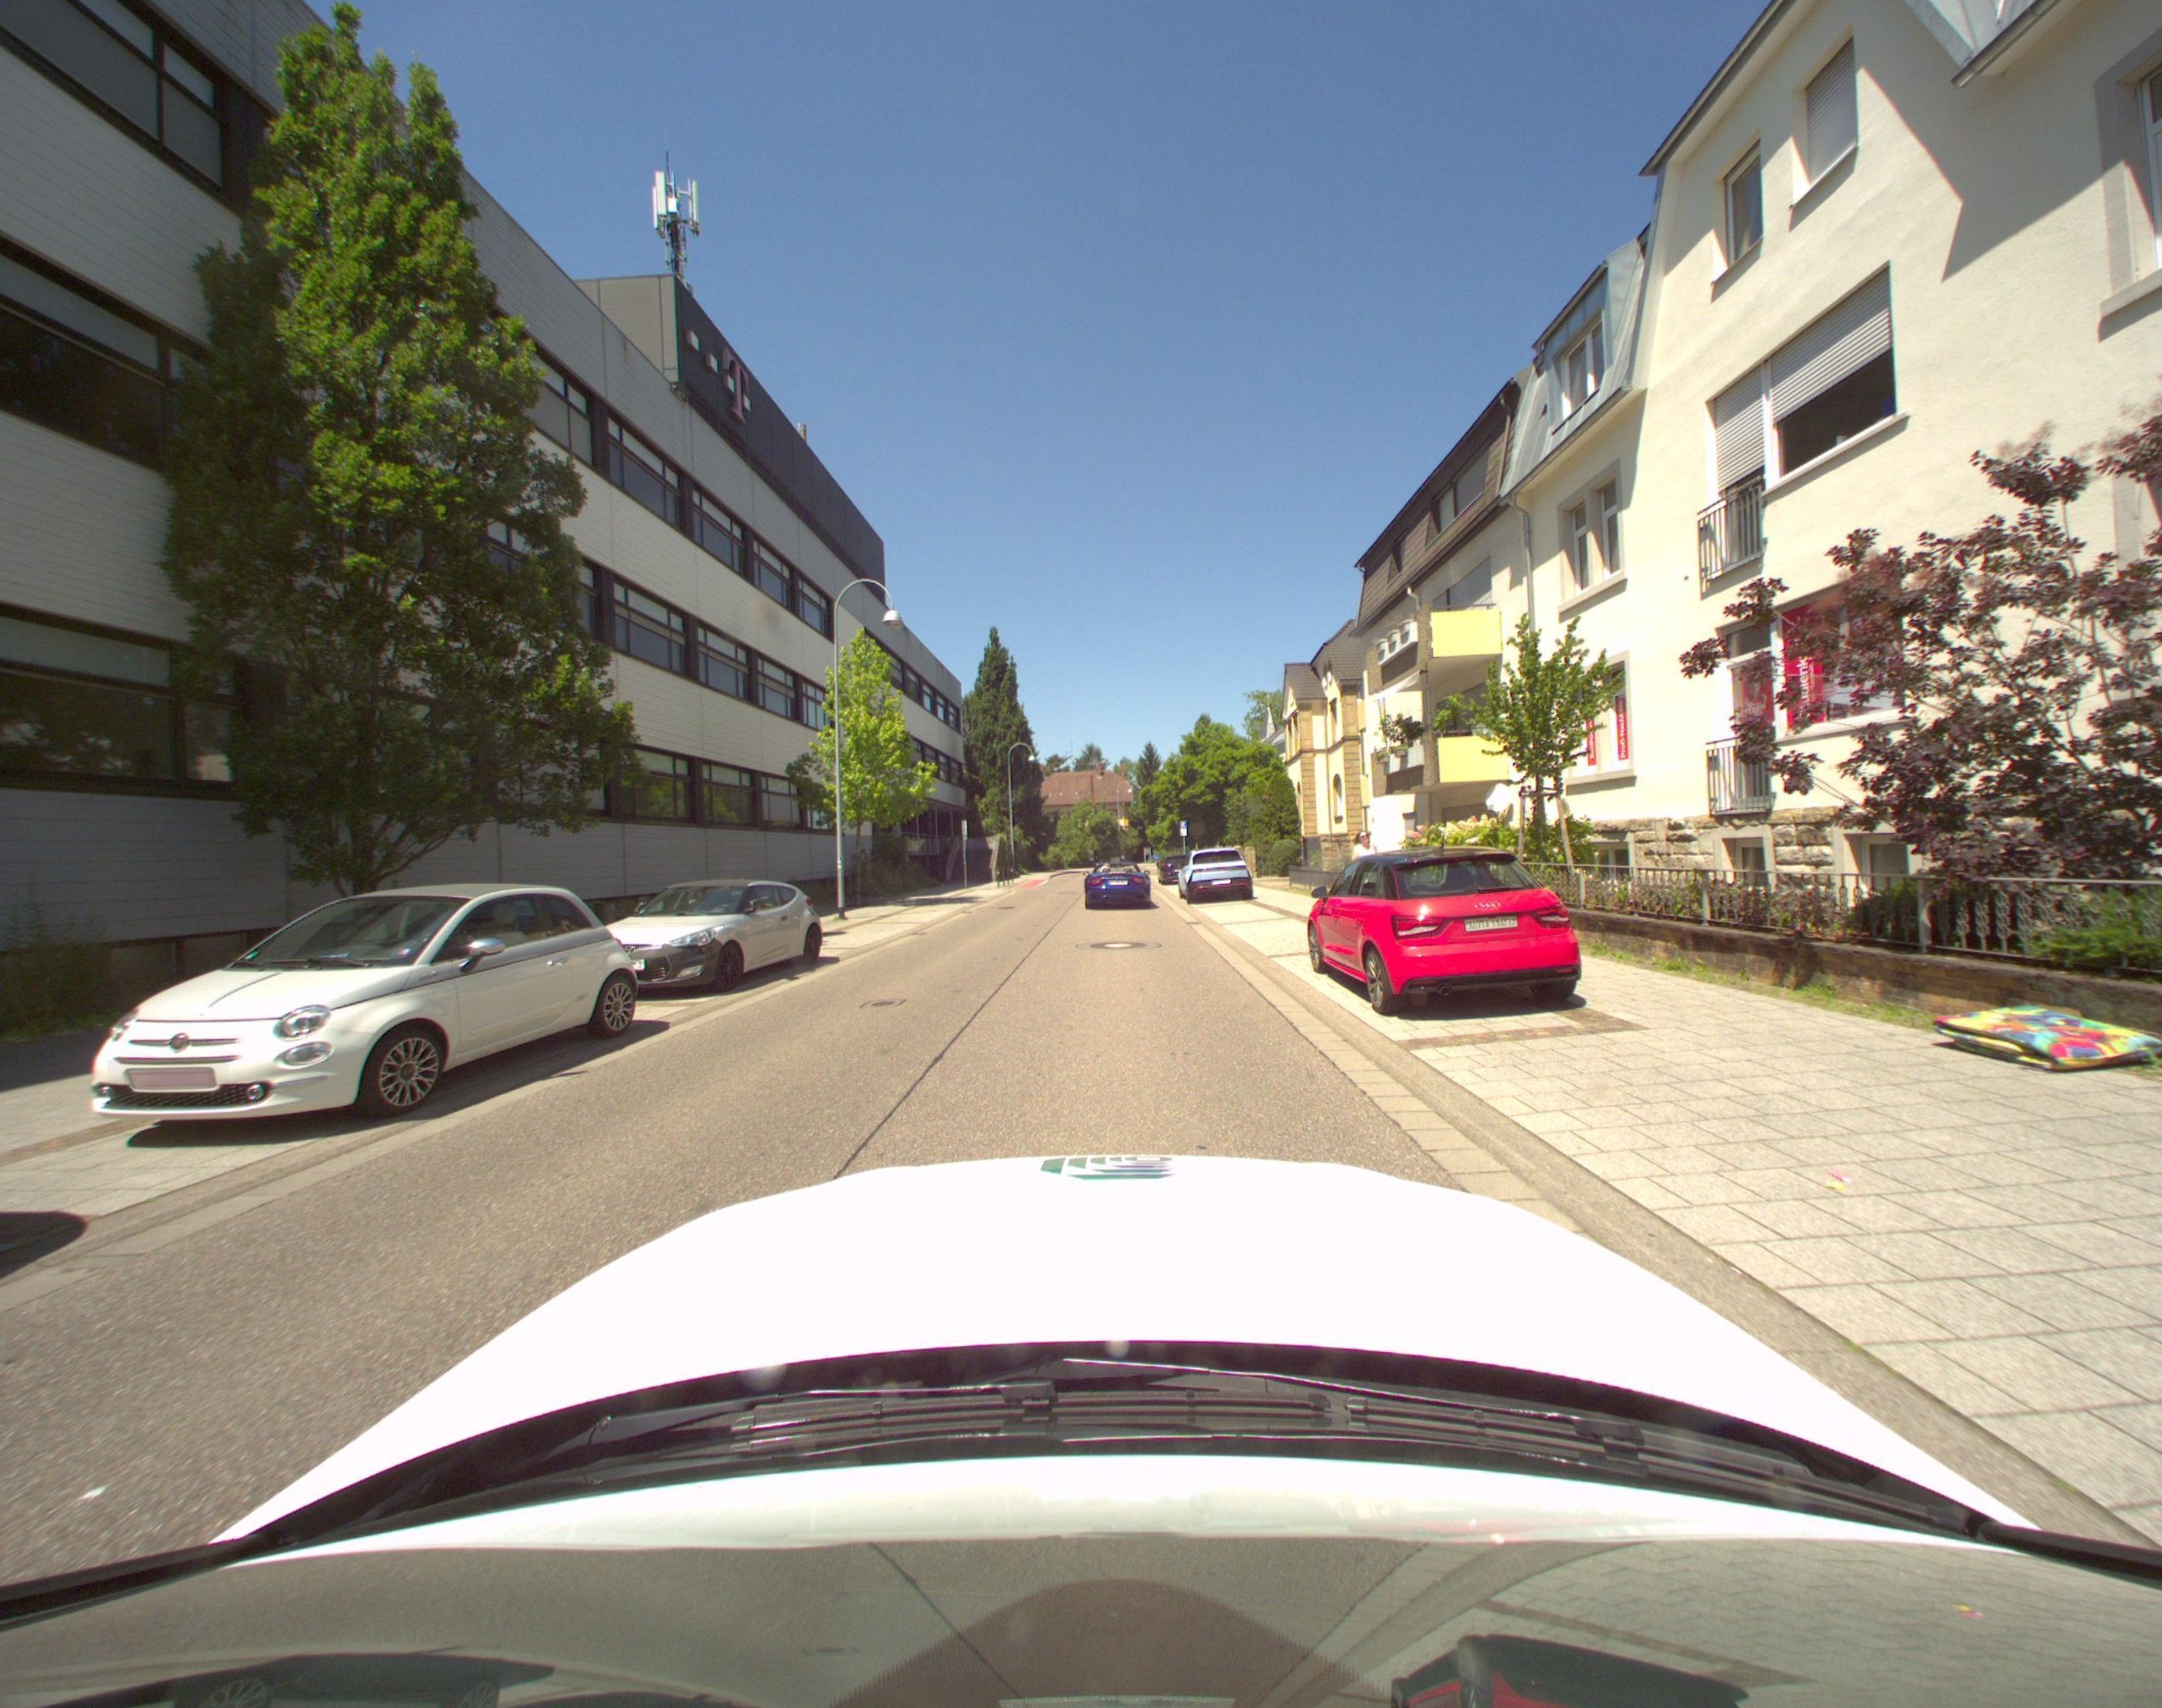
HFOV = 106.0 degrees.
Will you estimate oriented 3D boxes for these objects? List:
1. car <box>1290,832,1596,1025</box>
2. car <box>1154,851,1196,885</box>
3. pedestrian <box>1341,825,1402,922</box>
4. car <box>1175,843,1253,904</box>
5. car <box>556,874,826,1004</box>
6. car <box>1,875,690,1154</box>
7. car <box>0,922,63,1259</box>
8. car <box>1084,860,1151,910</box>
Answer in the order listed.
[{"bbox_3d":[3.437,0.608,8.561,1.596,1.440,3.857,-5,0,4],"label":"car"},{"bbox_3d":[4.576,0.661,40.020,1.625,1.446,4.400,-5,0,2],"label":"car"},{"bbox_3d":[5.308,0.352,14.914,0.738,1.669,0.706,-5,0,1],"label":"pedestrian"},{"bbox_3d":[4.069,0.557,25.514,1.836,1.619,4.431,-4,0,3],"label":"car"},{"bbox_3d":[-5.248,1.061,11.622,1.740,1.409,3.937,-1,0,4],"label":"car"},{"bbox_3d":[-5.357,1.000,6.919,1.815,1.512,4.292,-1,0,3],"label":"car"},{"bbox_3d":[-5.617,1.033,1.411,1.815,1.411,4.580,-1,0,3],"label":"car"},{"bbox_3d":[1.116,0.867,24.685,1.819,1.337,4.703,-1,0,2],"label":"car"}]
